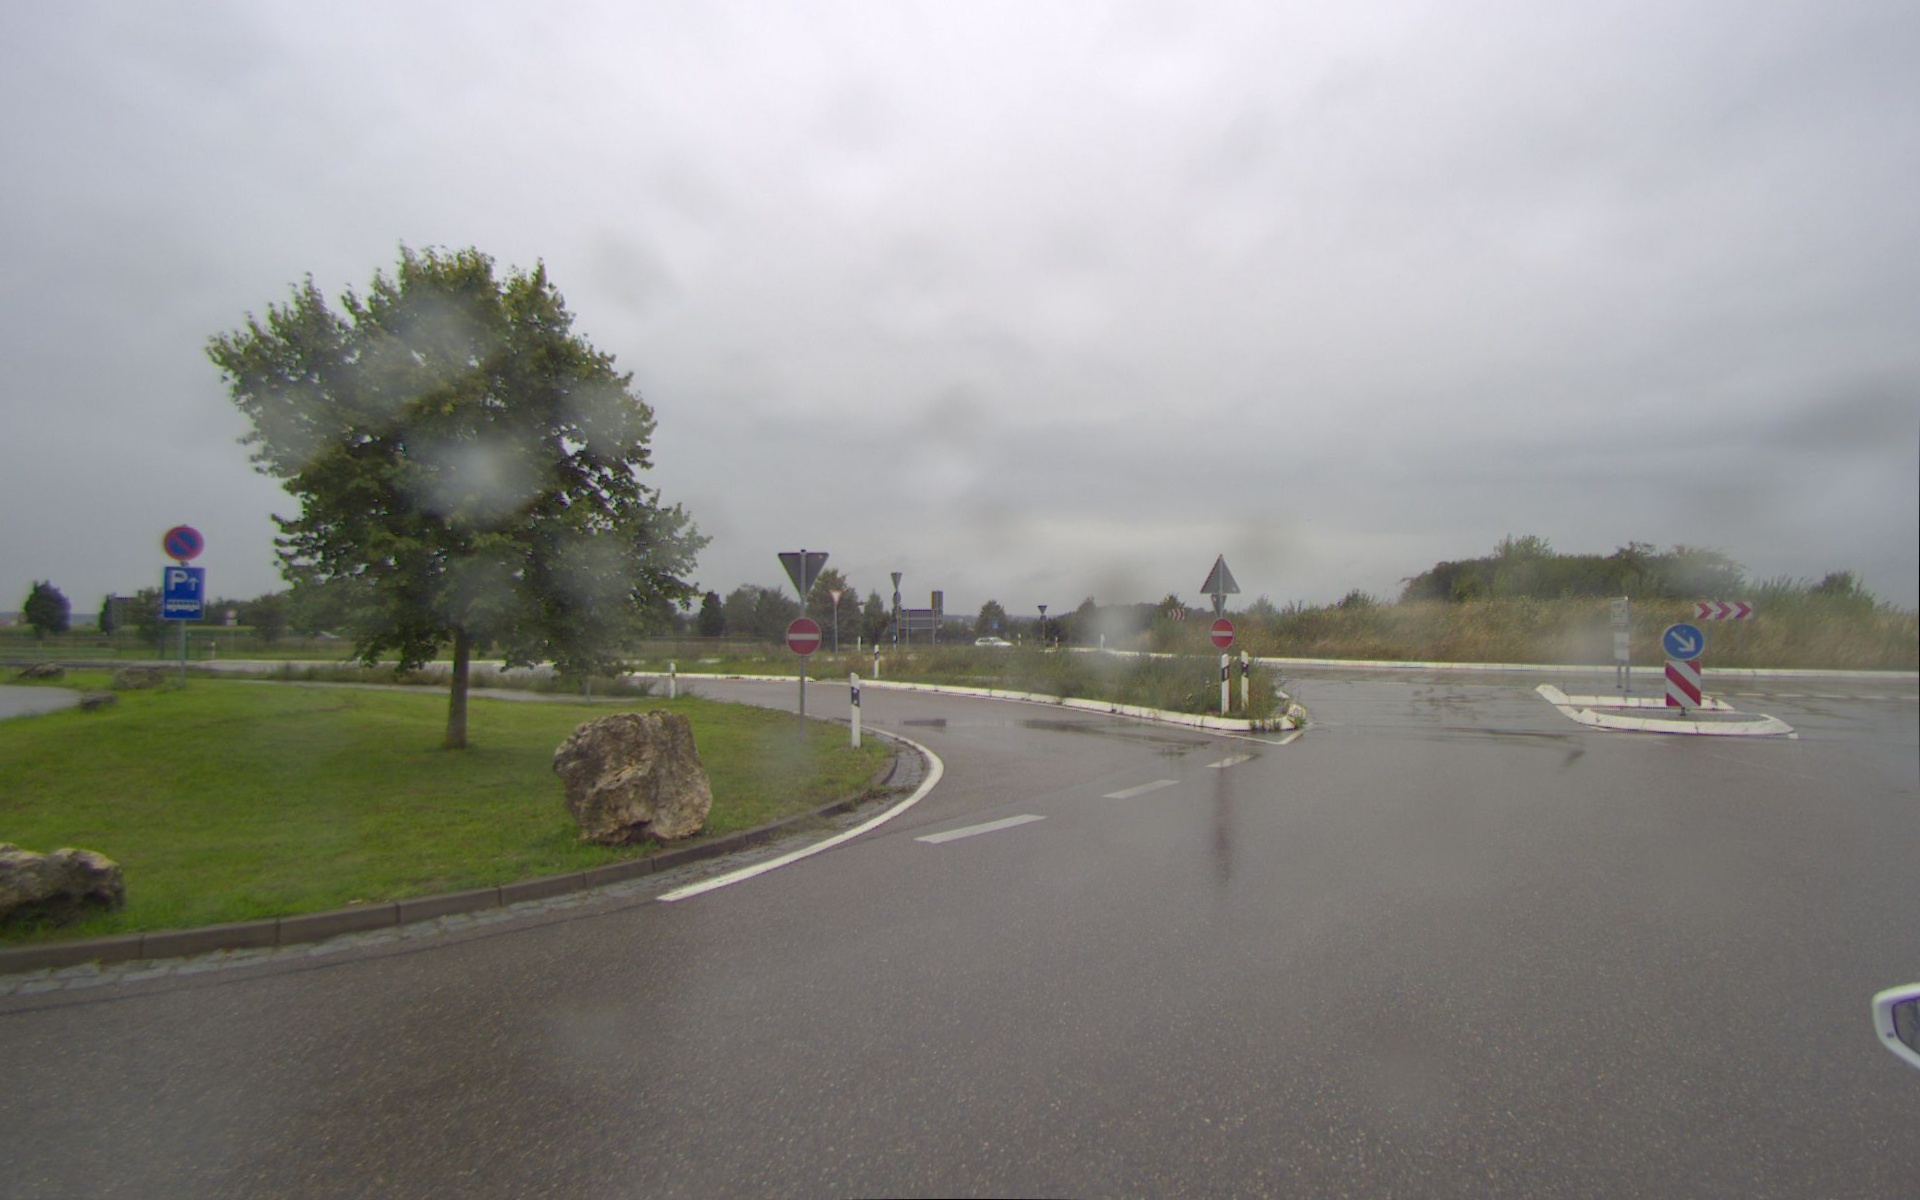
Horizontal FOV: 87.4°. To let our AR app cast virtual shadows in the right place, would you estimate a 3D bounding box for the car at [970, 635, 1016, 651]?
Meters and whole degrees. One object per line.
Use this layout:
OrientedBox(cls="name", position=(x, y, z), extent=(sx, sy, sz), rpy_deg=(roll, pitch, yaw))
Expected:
OrientedBox(cls="car", position=(3.068, 4.062, 94.237), extent=(4.260, 1.445, 1.643), rpy_deg=(-2, -3, 43))
